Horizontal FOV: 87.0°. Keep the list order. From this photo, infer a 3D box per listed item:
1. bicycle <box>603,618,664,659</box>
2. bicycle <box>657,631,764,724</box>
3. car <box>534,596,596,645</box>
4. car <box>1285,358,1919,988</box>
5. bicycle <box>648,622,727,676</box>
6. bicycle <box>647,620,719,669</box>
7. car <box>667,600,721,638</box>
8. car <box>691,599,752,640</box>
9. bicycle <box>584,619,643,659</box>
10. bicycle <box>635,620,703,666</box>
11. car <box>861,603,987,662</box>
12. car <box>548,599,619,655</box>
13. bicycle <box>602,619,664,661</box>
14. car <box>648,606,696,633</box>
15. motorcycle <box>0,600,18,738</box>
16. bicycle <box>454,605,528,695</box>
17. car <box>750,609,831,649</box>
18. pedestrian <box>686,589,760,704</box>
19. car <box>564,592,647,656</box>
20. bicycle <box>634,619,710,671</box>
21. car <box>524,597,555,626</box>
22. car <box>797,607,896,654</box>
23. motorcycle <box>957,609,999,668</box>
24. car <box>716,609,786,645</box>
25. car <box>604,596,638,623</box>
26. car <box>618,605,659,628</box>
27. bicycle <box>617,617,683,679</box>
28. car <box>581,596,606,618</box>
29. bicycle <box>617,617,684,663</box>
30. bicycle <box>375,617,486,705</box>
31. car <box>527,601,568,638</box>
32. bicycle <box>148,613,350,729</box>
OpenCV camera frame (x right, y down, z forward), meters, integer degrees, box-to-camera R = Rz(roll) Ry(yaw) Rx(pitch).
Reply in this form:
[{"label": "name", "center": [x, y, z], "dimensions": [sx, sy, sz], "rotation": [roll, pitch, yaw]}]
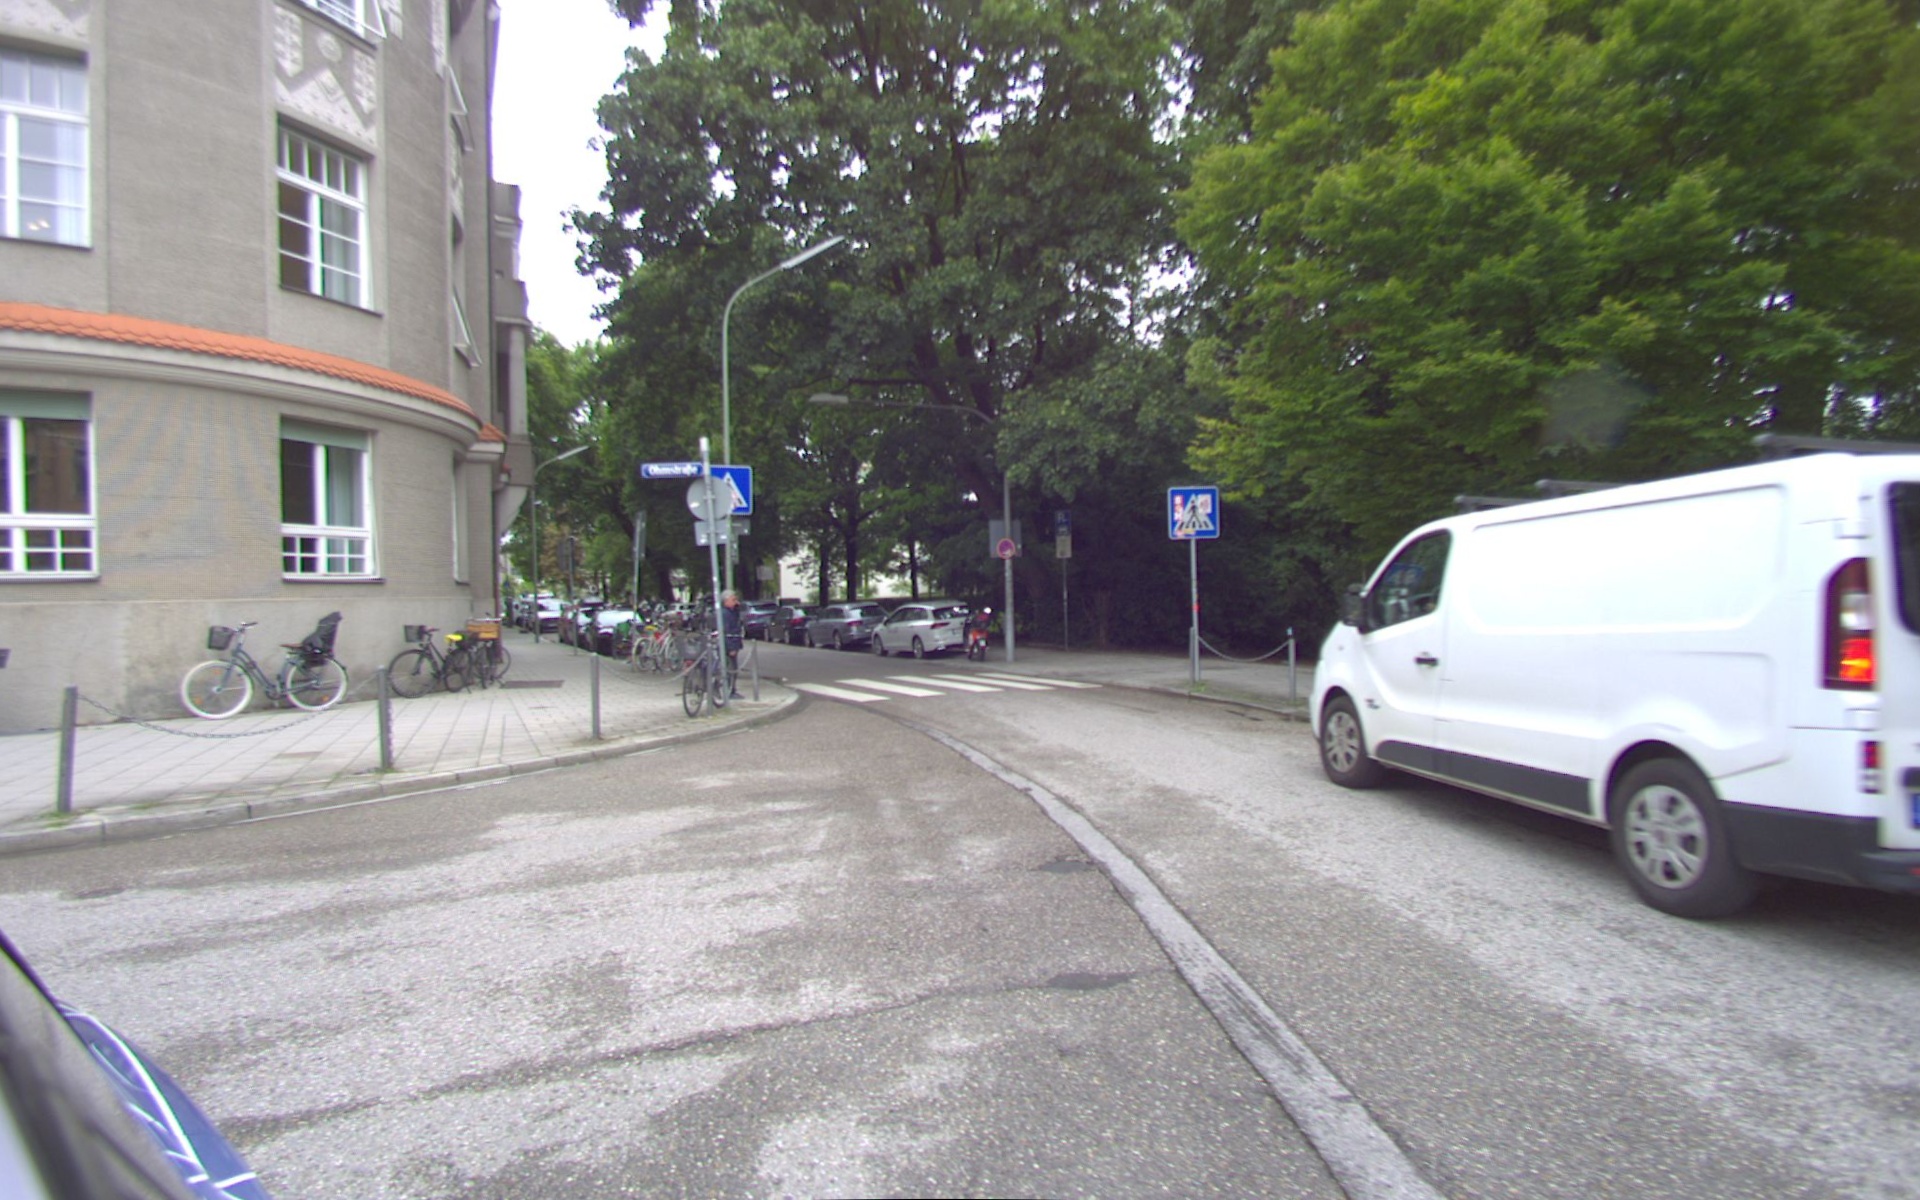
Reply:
[{"label": "bicycle", "center": [-9.765, 1.145, 30.325], "dimensions": [1.657, 1.156, 0.513], "rotation": [-1, 0, -8]}, {"label": "bicycle", "center": [-3.187, 0.958, 13.106], "dimensions": [0.507, 1.017, 2.000], "rotation": [-1, 0, 12]}, {"label": "car", "center": [-17.141, 0.834, 43.811], "dimensions": [1.965, 1.966, 4.676], "rotation": [-1, 1, -28]}, {"label": "car", "center": [3.896, 0.261, 5.861], "dimensions": [2.015, 2.057, 4.964], "rotation": [1, 0, -5]}, {"label": "bicycle", "center": [-6.204, 1.107, 23.132], "dimensions": [1.681, 1.156, 0.513], "rotation": [-1, 0, -8]}, {"label": "bicycle", "center": [-6.866, 1.096, 25.126], "dimensions": [1.657, 1.156, 0.513], "rotation": [-1, 0, -8]}, {"label": "car", "center": [-13.928, 0.979, 52.854], "dimensions": [1.747, 1.849, 4.531], "rotation": [-1, 0, -28]}, {"label": "car", "center": [-11.431, 0.929, 48.232], "dimensions": [1.747, 1.832, 4.531], "rotation": [-1, 0, -28]}, {"label": "bicycle", "center": [-10.631, 1.199, 31.073], "dimensions": [1.657, 1.156, 0.513], "rotation": [-1, 0, -8]}, {"label": "bicycle", "center": [-7.582, 1.114, 26.402], "dimensions": [1.657, 1.156, 0.513], "rotation": [-1, 0, -8]}, {"label": "car", "center": [-1.092, 0.845, 27.779], "dimensions": [1.597, 1.459, 4.449], "rotation": [-1, 0, -29]}, {"label": "car", "center": [-14.438, 0.954, 38.677], "dimensions": [1.965, 1.966, 4.676], "rotation": [-1, 1, -28]}, {"label": "bicycle", "center": [-9.490, 1.147, 29.405], "dimensions": [1.657, 1.156, 0.513], "rotation": [-1, 0, -8]}, {"label": "car", "center": [-16.391, 1.107, 57.500], "dimensions": [1.747, 1.443, 4.531], "rotation": [-1, 0, -28]}, {"label": "motorcycle", "center": [-11.147, 0.750, 10.316], "dimensions": [2.109, 1.451, 0.741], "rotation": [-1, 0, -25]}, {"label": "bicycle", "center": [-8.019, 0.807, 17.388], "dimensions": [0.726, 1.424, 1.931], "rotation": [-1, 0, -12]}, {"label": "car", "center": [-6.614, 1.082, 39.056], "dimensions": [1.747, 1.443, 4.531], "rotation": [-1, 0, -28]}, {"label": "pedestrian", "center": [-3.530, 0.672, 15.091], "dimensions": [0.722, 1.654, 0.806], "rotation": [-1, 0, 24]}, {"label": "car", "center": [-12.054, 0.754, 34.195], "dimensions": [1.965, 1.966, 4.676], "rotation": [-1, 1, -28]}, {"label": "bicycle", "center": [-6.723, 1.046, 23.694], "dimensions": [1.657, 1.156, 0.467], "rotation": [-1, 0, -8]}, {"label": "car", "center": [-30.518, 0.812, 73.354], "dimensions": [1.965, 1.966, 4.676], "rotation": [-1, 1, -24]}, {"label": "car", "center": [-3.868, 0.980, 33.748], "dimensions": [1.747, 1.443, 4.531], "rotation": [-1, 0, -28]}, {"label": "motorcycle", "center": [0.387, 0.863, 23.473], "dimensions": [0.847, 1.192, 2.006], "rotation": [-4, 0, 0]}, {"label": "car", "center": [-9.050, 1.126, 43.636], "dimensions": [1.747, 1.443, 4.531], "rotation": [-1, 0, -28]}, {"label": "car", "center": [-25.816, 0.703, 77.030], "dimensions": [1.965, 1.966, 4.676], "rotation": [-1, 1, -24]}, {"label": "car", "center": [-21.052, 1.057, 66.189], "dimensions": [1.747, 1.443, 4.531], "rotation": [-1, 0, -28]}, {"label": "bicycle", "center": [-6.226, 0.945, 20.430], "dimensions": [0.507, 1.156, 1.678], "rotation": [-1, 0, 12]}, {"label": "car", "center": [-35.402, 0.663, 97.700], "dimensions": [1.965, 1.966, 4.676], "rotation": [-1, 1, -24]}, {"label": "bicycle", "center": [-8.317, 1.070, 27.248], "dimensions": [1.657, 1.156, 0.513], "rotation": [-1, 0, -8]}, {"label": "bicycle", "center": [-7.919, 0.879, 15.239], "dimensions": [0.557, 1.165, 1.925], "rotation": [2, 0, 2]}, {"label": "car", "center": [-23.738, 1.090, 58.162], "dimensions": [1.965, 1.966, 4.676], "rotation": [-1, 1, -24]}, {"label": "bicycle", "center": [-8.765, 0.826, 12.560], "dimensions": [0.736, 1.265, 1.903], "rotation": [-1, 1, 35]}]
